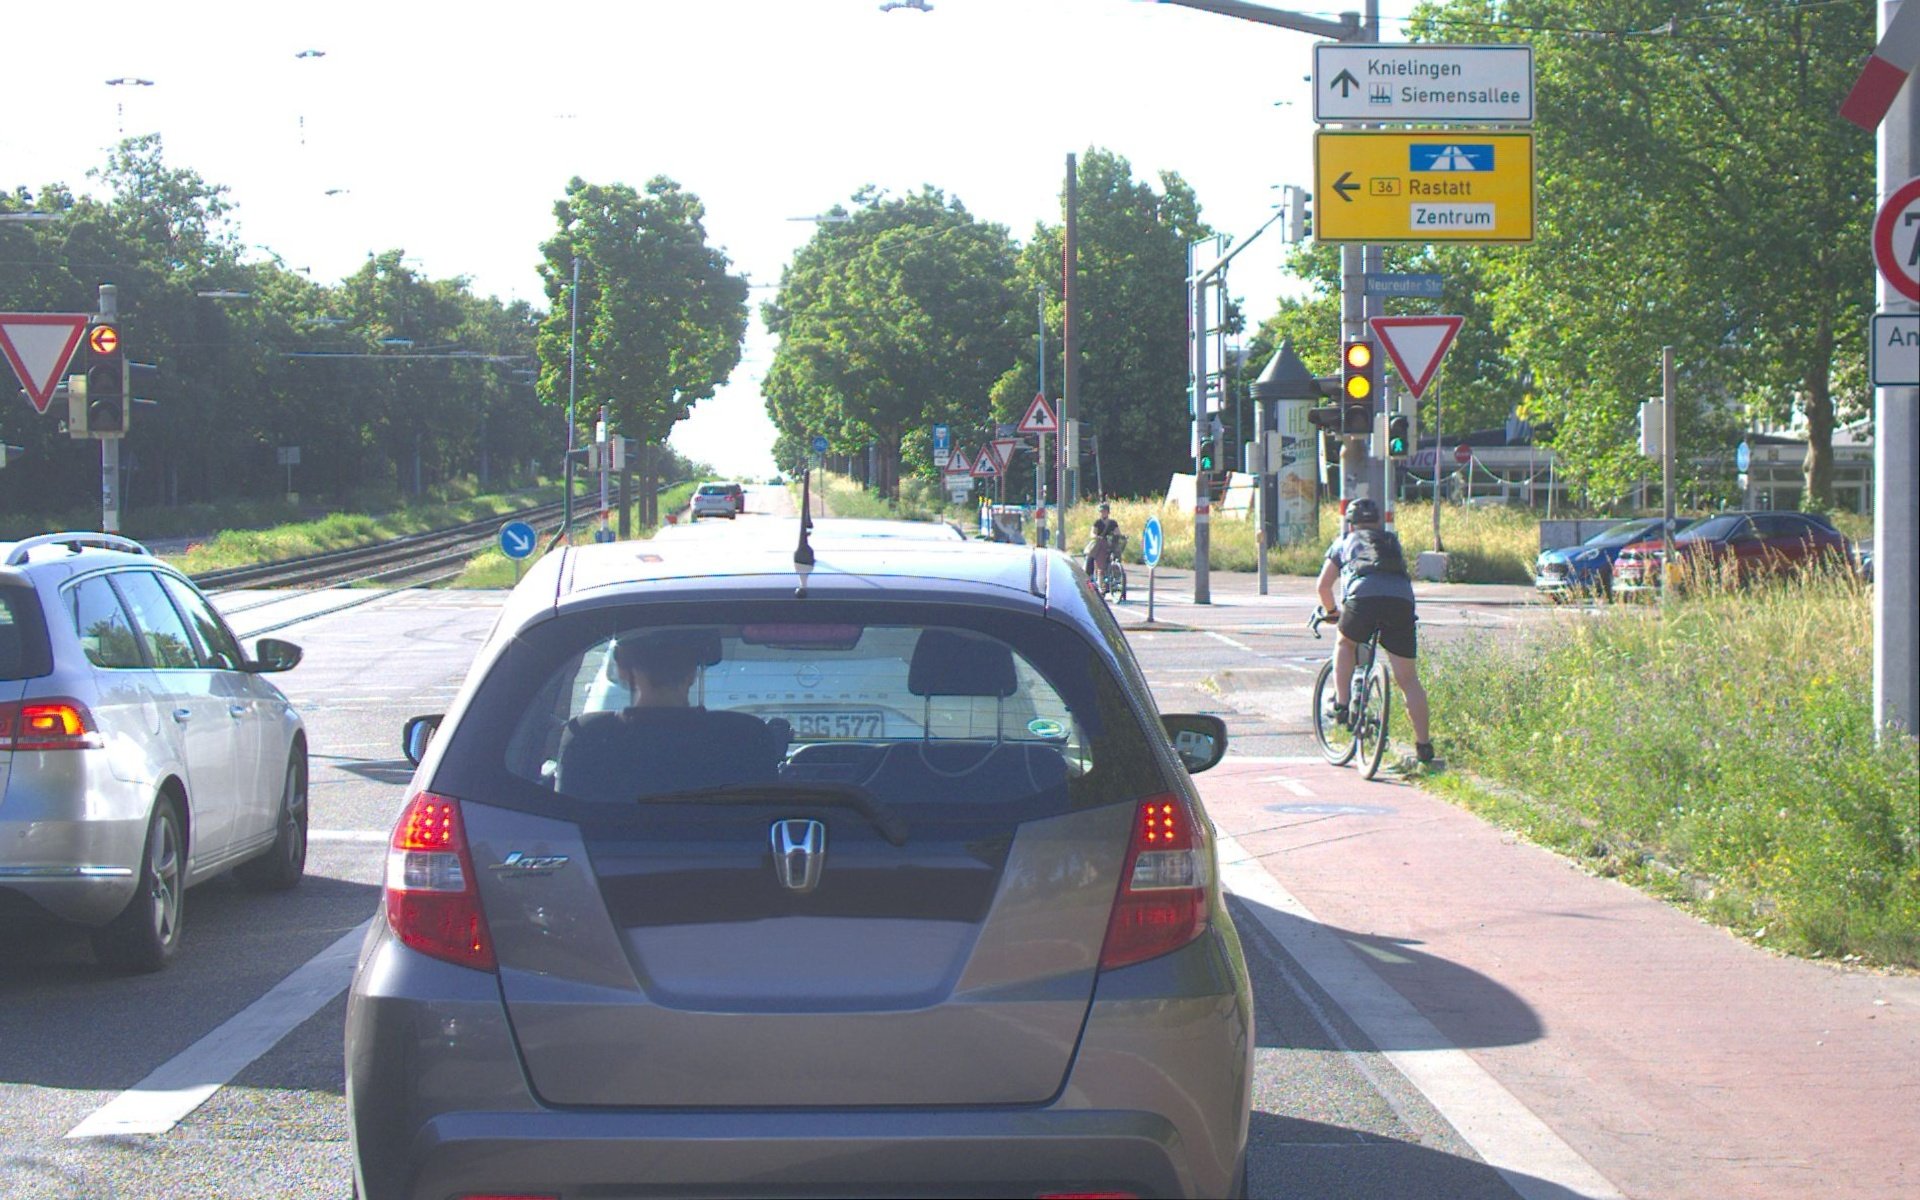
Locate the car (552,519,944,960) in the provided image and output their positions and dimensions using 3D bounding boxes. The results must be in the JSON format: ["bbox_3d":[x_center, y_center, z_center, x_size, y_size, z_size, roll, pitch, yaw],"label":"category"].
[{"bbox_3d":[-0.794,0.450,13.542,1.351,1.522,3.124,0,1,-2],"label":"car"}]

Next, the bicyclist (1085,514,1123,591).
[{"bbox_3d":[2.515,-0.836,60.032,0.509,1.336,0.565,-1,1,-16],"label":"bicyclist"}]

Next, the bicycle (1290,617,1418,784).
[{"bbox_3d":[2.431,0.600,21.370,0.524,0.920,2.089,0,1,-1],"label":"bicycle"}]

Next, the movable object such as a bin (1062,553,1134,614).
[{"bbox_3d":[2.457,-0.299,61.215,0.908,1.065,1.317,1,1,-15],"label":"movable object such as a bin"}]

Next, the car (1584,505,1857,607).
[{"bbox_3d":[12.381,-0.737,55.992,4.076,1.595,1.817,-1,1,-25],"label":"car"}]

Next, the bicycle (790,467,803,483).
[{"bbox_3d":[-11.738,-8.960,246.886,0.817,1.044,2.506,1,1,-2],"label":"bicycle"}]

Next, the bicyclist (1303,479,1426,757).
[{"bbox_3d":[2.487,0.099,21.204,0.615,1.673,0.933,0,1,-2],"label":"bicyclist"}]

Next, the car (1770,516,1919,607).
[{"bbox_3d":[16.839,-0.728,62.725,3.847,1.595,1.713,-1,1,-29],"label":"car"}]

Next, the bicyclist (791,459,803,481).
[{"bbox_3d":[-11.724,-9.326,246.901,0.817,1.519,0.966,1,0,-2],"label":"bicyclist"}]

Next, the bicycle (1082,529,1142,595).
[{"bbox_3d":[2.627,-0.667,59.553,0.466,1.115,1.821,0,2,-16],"label":"bicycle"}]

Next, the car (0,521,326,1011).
[{"bbox_3d":[-3.653,0.474,12.877,1.877,1.522,4.421,0,1,-2],"label":"car"}]

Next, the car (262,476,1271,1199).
[{"bbox_3d":[-0.340,0.513,7.572,1.670,1.510,3.674,0,1,-1],"label":"car"}]

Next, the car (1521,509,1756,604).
[{"bbox_3d":[11.883,-0.771,60.178,3.847,1.595,1.713,-1,1,-29],"label":"car"}]

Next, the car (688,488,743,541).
[{"bbox_3d":[-9.577,-3.349,135.039,1.993,2.007,4.000,1,1,-2],"label":"car"}]
